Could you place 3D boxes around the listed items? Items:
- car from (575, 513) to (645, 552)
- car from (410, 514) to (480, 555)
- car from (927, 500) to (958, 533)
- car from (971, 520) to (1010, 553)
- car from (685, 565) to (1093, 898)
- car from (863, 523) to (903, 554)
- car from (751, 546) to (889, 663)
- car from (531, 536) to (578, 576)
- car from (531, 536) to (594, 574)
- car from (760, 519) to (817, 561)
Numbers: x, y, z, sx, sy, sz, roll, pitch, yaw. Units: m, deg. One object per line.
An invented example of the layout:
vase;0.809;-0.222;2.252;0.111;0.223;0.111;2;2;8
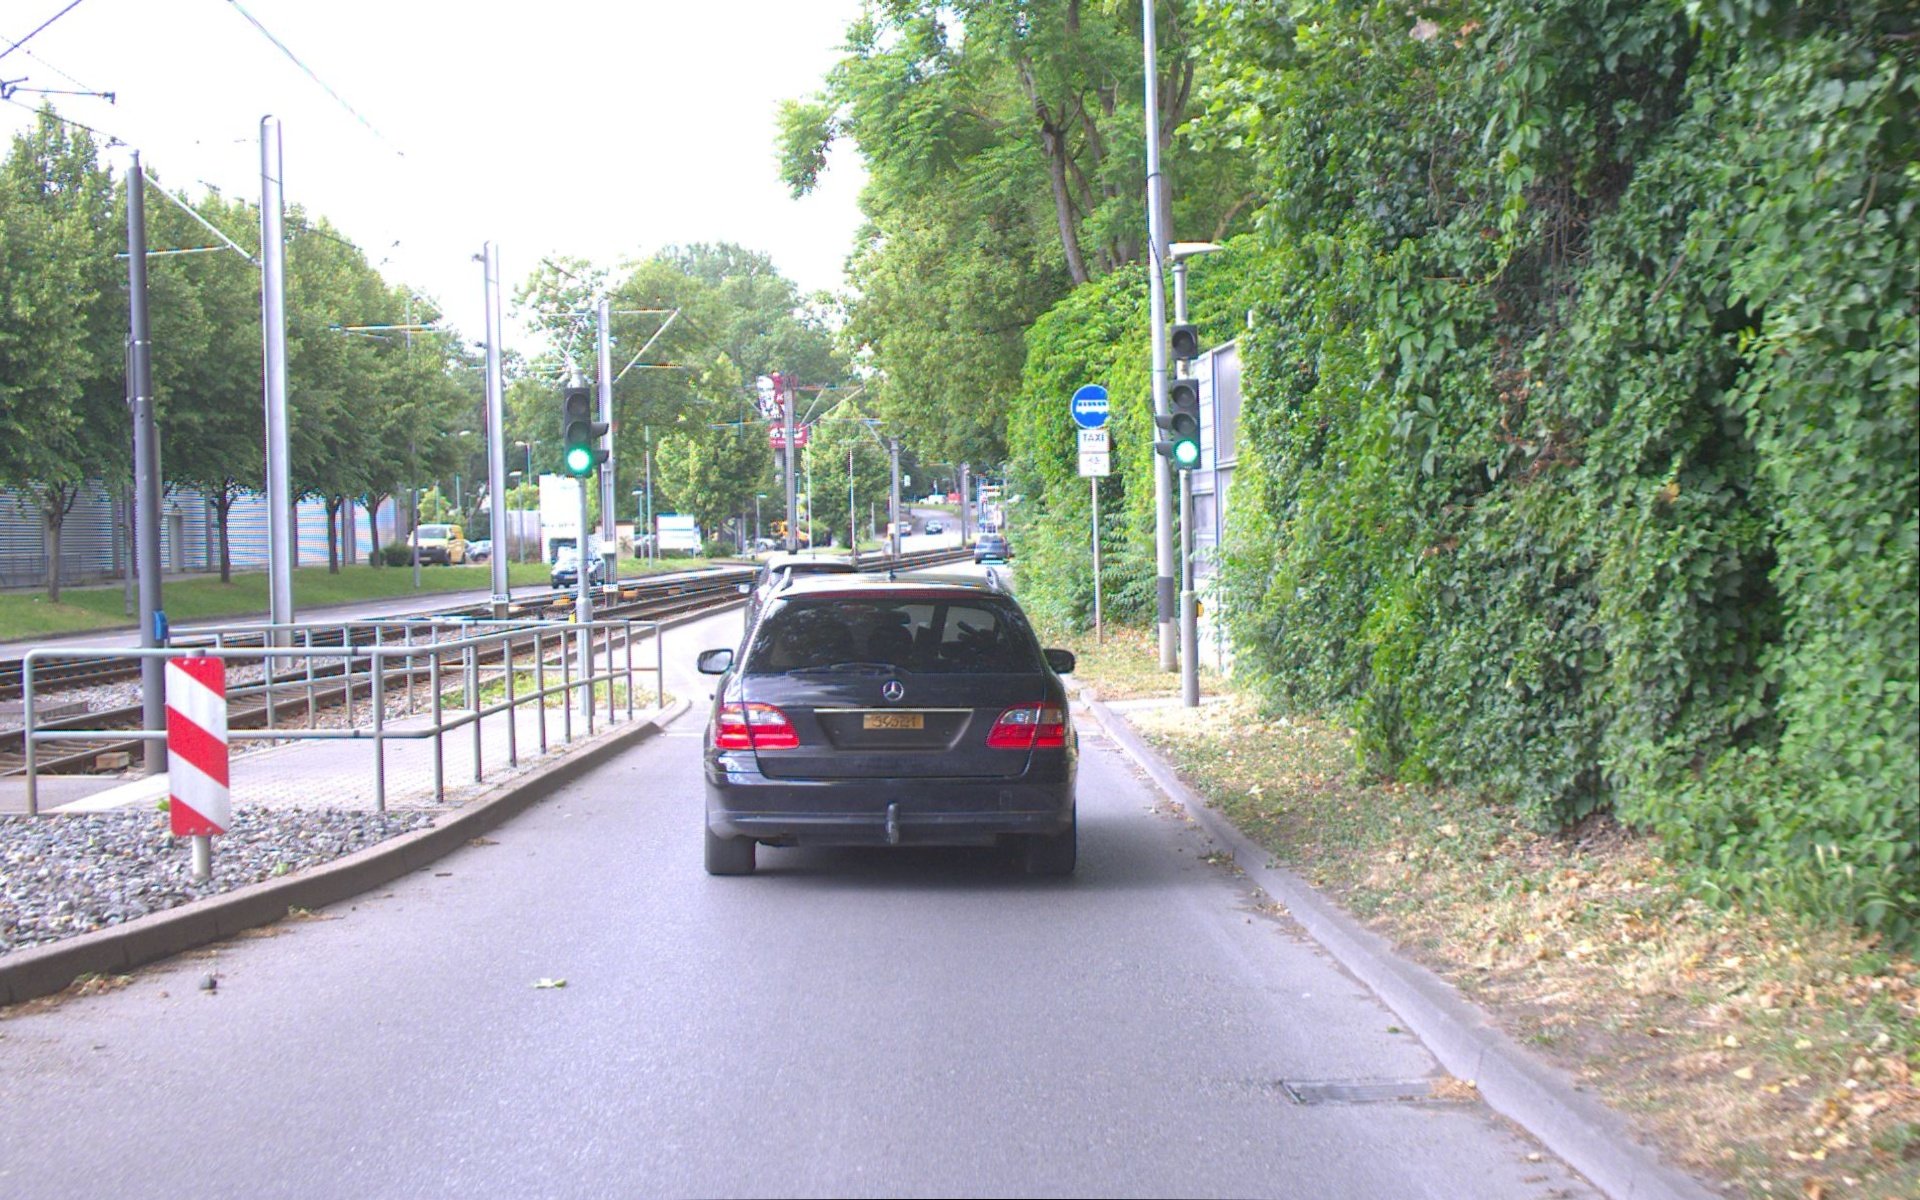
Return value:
car;-20.749;-3.984;203.755;3.986;2.116;2.000;-3;1;-5
car;-22.812;-2.925;152.461;1.994;1.737;4.987;-2;1;4
car;-1.090;-5.257;217.351;1.891;2.007;3.898;-3;1;0
car;1.501;-3.119;169.313;1.825;1.524;4.416;-2;1;1
car;-0.304;0.571;17.732;1.833;1.473;4.416;0;1;0
car;-3.862;-3.097;172.546;1.825;1.524;3.986;0;2;1
car;-1.934;0.025;48.564;1.825;1.524;4.416;0;2;-1
car;-21.640;-2.364;183.631;1.993;2.007;4.000;-3;1;0
car;-15.226;-1.748;131.824;1.660;1.388;3.718;-1;1;5
car;-6.383;-2.251;128.264;1.825;1.524;3.927;0;2;1
